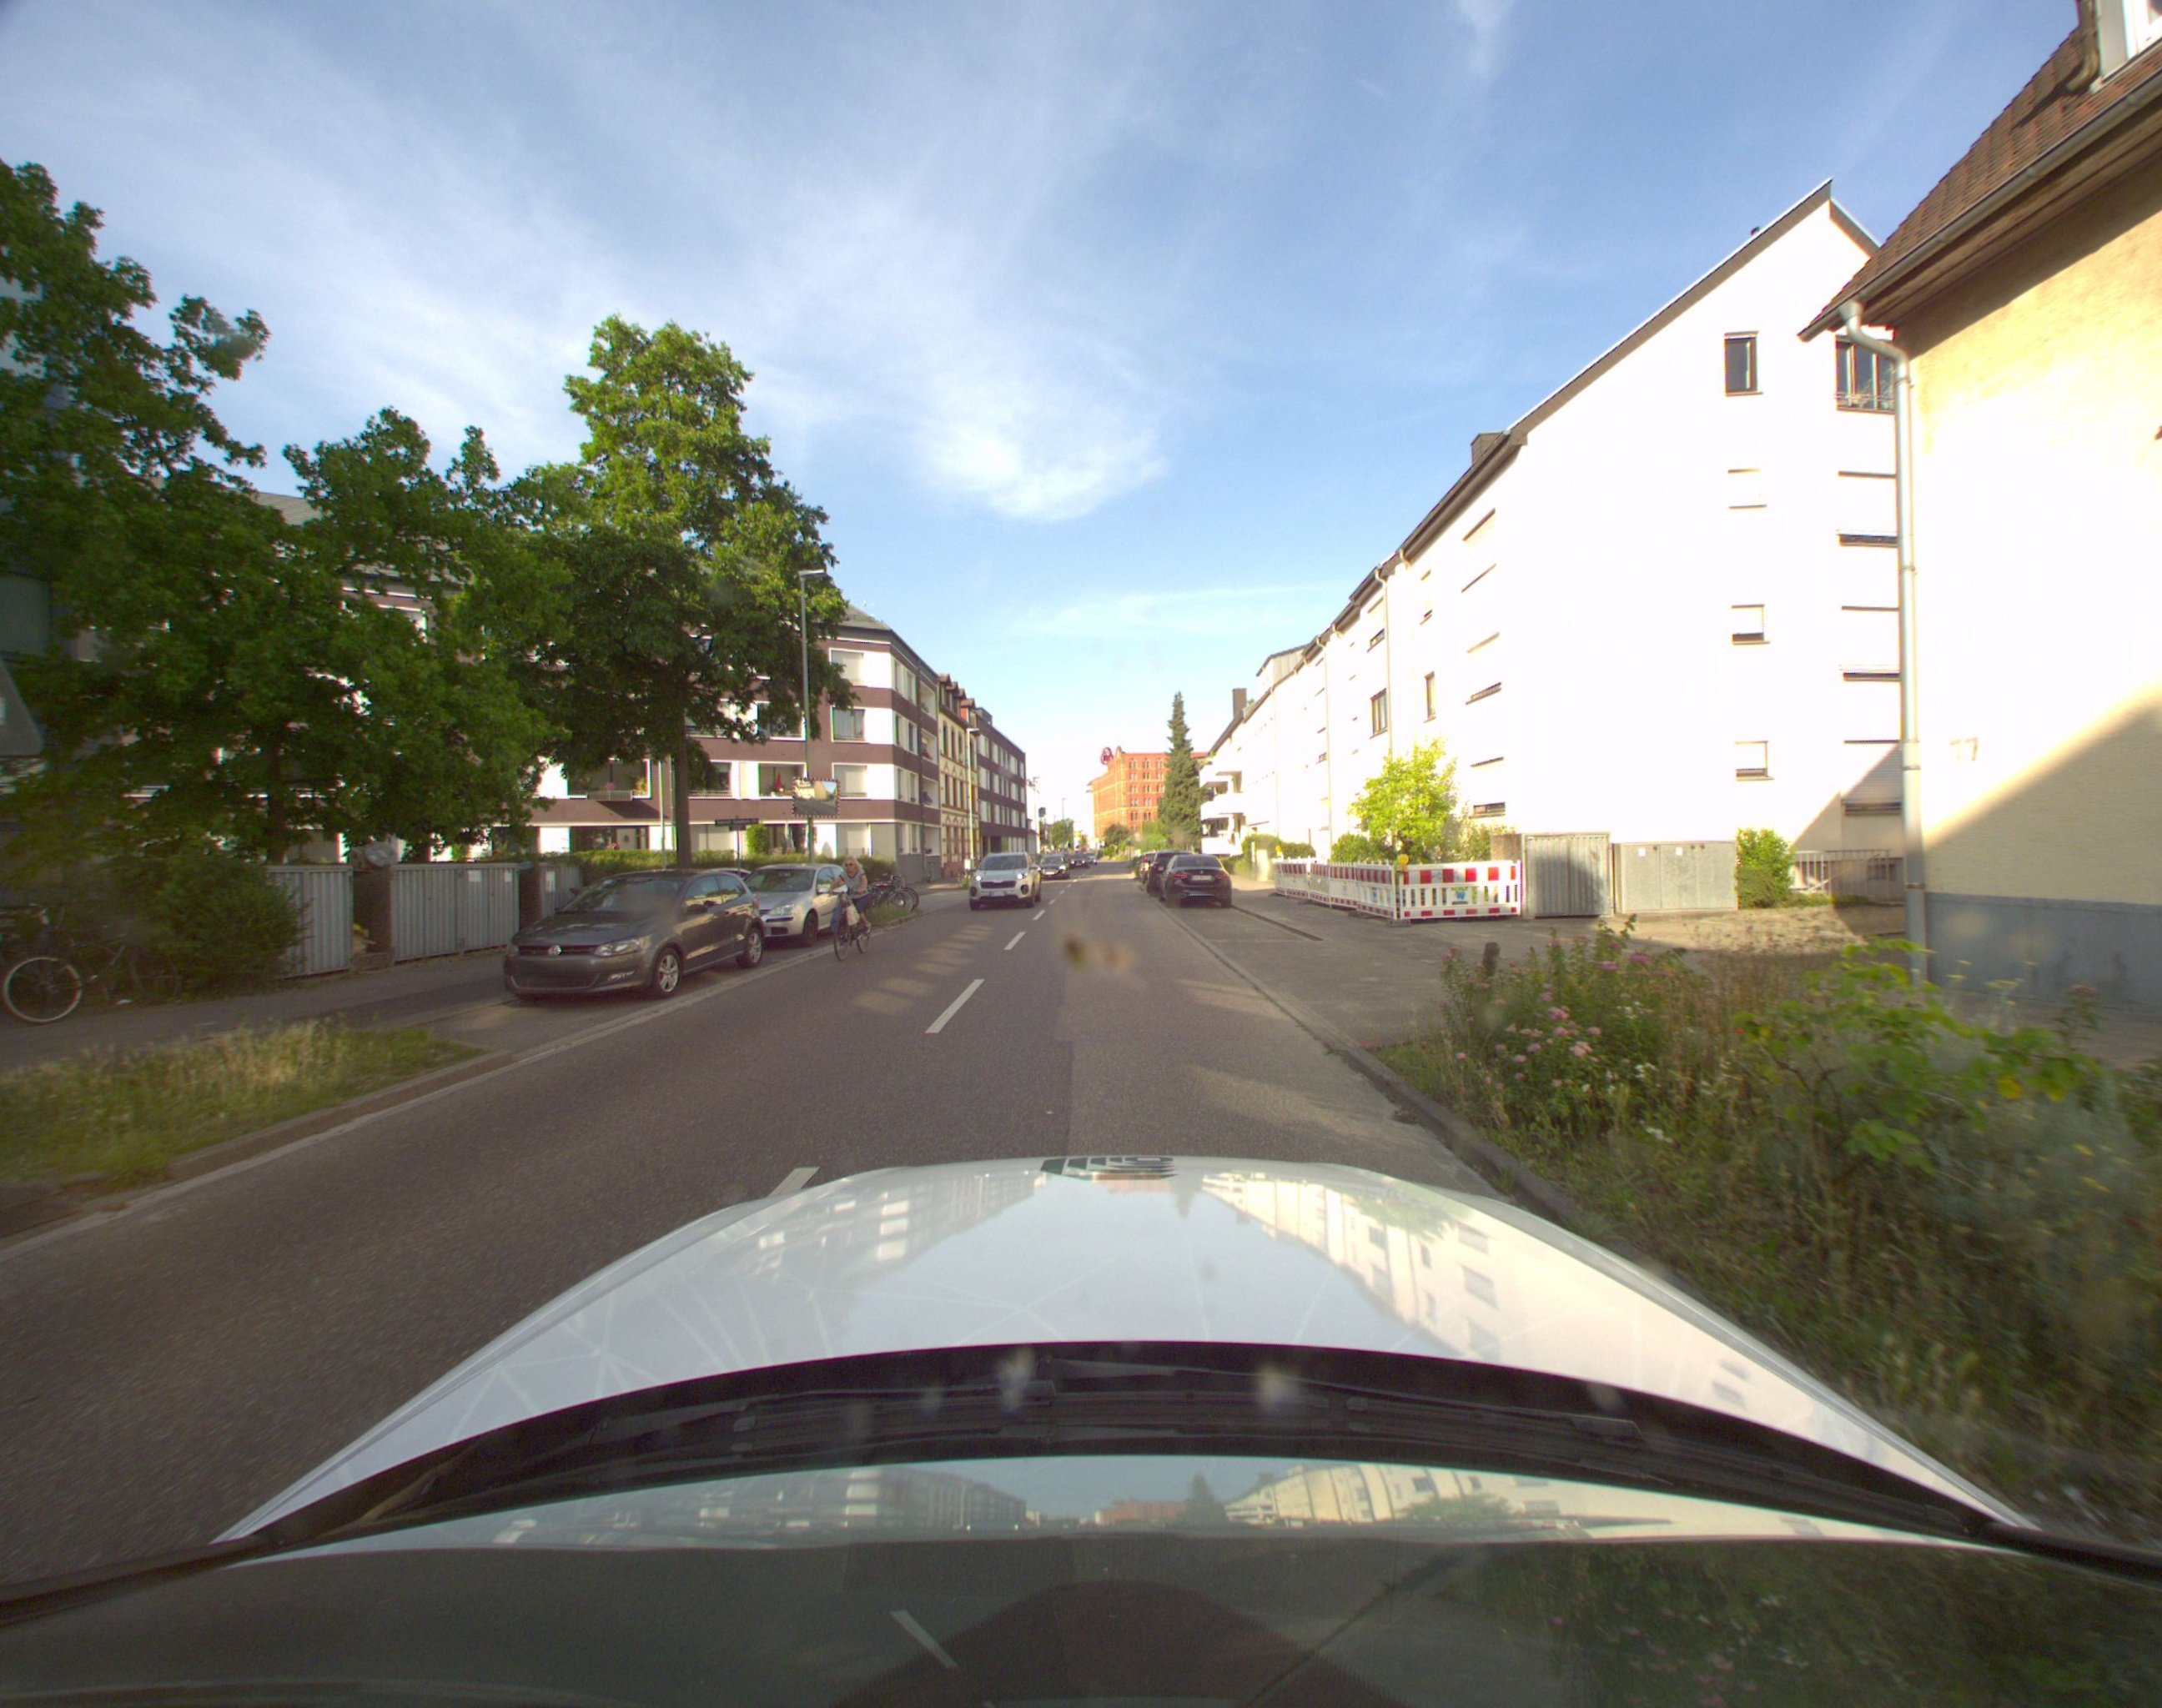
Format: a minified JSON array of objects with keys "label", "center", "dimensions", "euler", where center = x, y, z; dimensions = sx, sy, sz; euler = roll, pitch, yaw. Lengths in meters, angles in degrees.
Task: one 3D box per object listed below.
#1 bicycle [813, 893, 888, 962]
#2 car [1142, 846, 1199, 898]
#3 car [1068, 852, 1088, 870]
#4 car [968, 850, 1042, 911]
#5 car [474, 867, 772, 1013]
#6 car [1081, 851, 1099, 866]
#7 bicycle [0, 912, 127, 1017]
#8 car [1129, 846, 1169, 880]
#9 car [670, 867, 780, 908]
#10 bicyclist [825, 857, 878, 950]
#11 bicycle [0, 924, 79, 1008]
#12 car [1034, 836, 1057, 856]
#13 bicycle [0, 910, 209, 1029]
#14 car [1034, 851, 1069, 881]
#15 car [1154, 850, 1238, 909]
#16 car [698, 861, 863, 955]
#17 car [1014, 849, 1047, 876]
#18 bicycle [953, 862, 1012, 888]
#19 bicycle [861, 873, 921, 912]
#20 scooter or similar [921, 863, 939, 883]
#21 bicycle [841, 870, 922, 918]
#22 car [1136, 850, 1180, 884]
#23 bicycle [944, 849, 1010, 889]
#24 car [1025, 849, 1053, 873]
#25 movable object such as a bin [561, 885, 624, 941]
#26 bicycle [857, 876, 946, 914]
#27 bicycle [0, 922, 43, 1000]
[{"label":"bicycle","center":[-3.680,1.150,13.137],"dimensions":[0.606,0.942,1.812],"euler":[-1,0,2]},{"label":"car","center":[3.073,0.597,28.548],"dimensions":[1.596,1.646,3.685],"euler":[-2,0,1]},{"label":"car","center":[-0.239,0.622,76.500],"dimensions":[1.757,1.616,4.001],"euler":[-2,0,1]},{"label":"car","center":[-2.213,0.730,24.674],"dimensions":[1.757,1.616,4.001],"euler":[-2,0,1]},{"label":"car","center":[-5.451,0.917,10.317],"dimensions":[1.568,1.420,3.804],"euler":[-1,0,0]},{"label":"car","center":[1.112,0.536,95.345],"dimensions":[1.986,1.596,4.001],"euler":[-2,0,1]},{"label":"bicycle","center":[-11.332,1.182,8.643],"dimensions":[0.460,0.993,1.681],"euler":[-2,0,-3]},{"label":"car","center":[3.730,0.474,45.433],"dimensions":[1.986,1.772,4.002],"euler":[-1,0,2]},{"label":"car","center":[-12.918,1.173,29.603],"dimensions":[3.469,1.288,1.648],"euler":[-2,0,-31]},{"label":"bicyclist","center":[-3.689,0.783,13.136],"dimensions":[0.588,1.442,0.751],"euler":[-1,0,2]},{"label":"bicycle","center":[-11.970,1.252,8.706],"dimensions":[0.460,0.851,1.681],"euler":[-2,0,-3]},{"label":"car","center":[-3.675,-0.841,84.526],"dimensions":[1.986,2.013,4.001],"euler":[-2,0,1]},{"label":"bicycle","center":[-10.410,1.172,8.682],"dimensions":[0.460,1.023,1.681],"euler":[-2,0,-3]},{"label":"car","center":[-1.699,0.675,47.875],"dimensions":[1.757,1.616,4.001],"euler":[-2,0,1]},{"label":"car","center":[3.201,0.669,23.466],"dimensions":[1.852,1.472,4.000],"euler":[-2,0,1]},{"label":"car","center":[-5.586,0.916,15.686],"dimensions":[1.671,1.501,3.999],"euler":[-1,0,-1]},{"label":"car","center":[-3.631,0.608,59.321],"dimensions":[1.986,1.835,3.691],"euler":[-2,0,2]},{"label":"bicycle","center":[-4.887,1.034,40.609],"dimensions":[2.762,1.144,1.144],"euler":[-2,0,1]},{"label":"bicycle","center":[-5.484,1.108,23.593],"dimensions":[1.582,1.041,0.707],"euler":[-2,0,-5]},{"label":"scooter or similar","center":[-8.586,1.082,46.357],"dimensions":[0.631,1.103,1.611],"euler":[0,0,2]},{"label":"bicycle","center":[-5.379,1.068,22.002],"dimensions":[1.997,1.217,0.707],"euler":[-2,0,-5]},{"label":"car","center":[3.751,0.607,40.267],"dimensions":[1.757,1.526,4.001],"euler":[-3,0,1]},{"label":"bicycle","center":[-4.939,0.710,38.839],"dimensions":[2.907,1.777,1.202],"euler":[-2,0,1]},{"label":"car","center":[-3.496,0.604,68.517],"dimensions":[1.986,1.907,4.002],"euler":[-2,0,2]},{"label":"movable object such as a bin","center":[-9.802,1.167,16.368],"dimensions":[0.749,1.040,0.817],"euler":[1,0,1]},{"label":"bicycle","center":[-5.027,1.143,22.875],"dimensions":[2.336,0.970,0.707],"euler":[-2,0,-5]},{"label":"bicycle","center":[-12.475,1.239,8.779],"dimensions":[0.460,0.851,1.681],"euler":[-2,0,-3]}]
